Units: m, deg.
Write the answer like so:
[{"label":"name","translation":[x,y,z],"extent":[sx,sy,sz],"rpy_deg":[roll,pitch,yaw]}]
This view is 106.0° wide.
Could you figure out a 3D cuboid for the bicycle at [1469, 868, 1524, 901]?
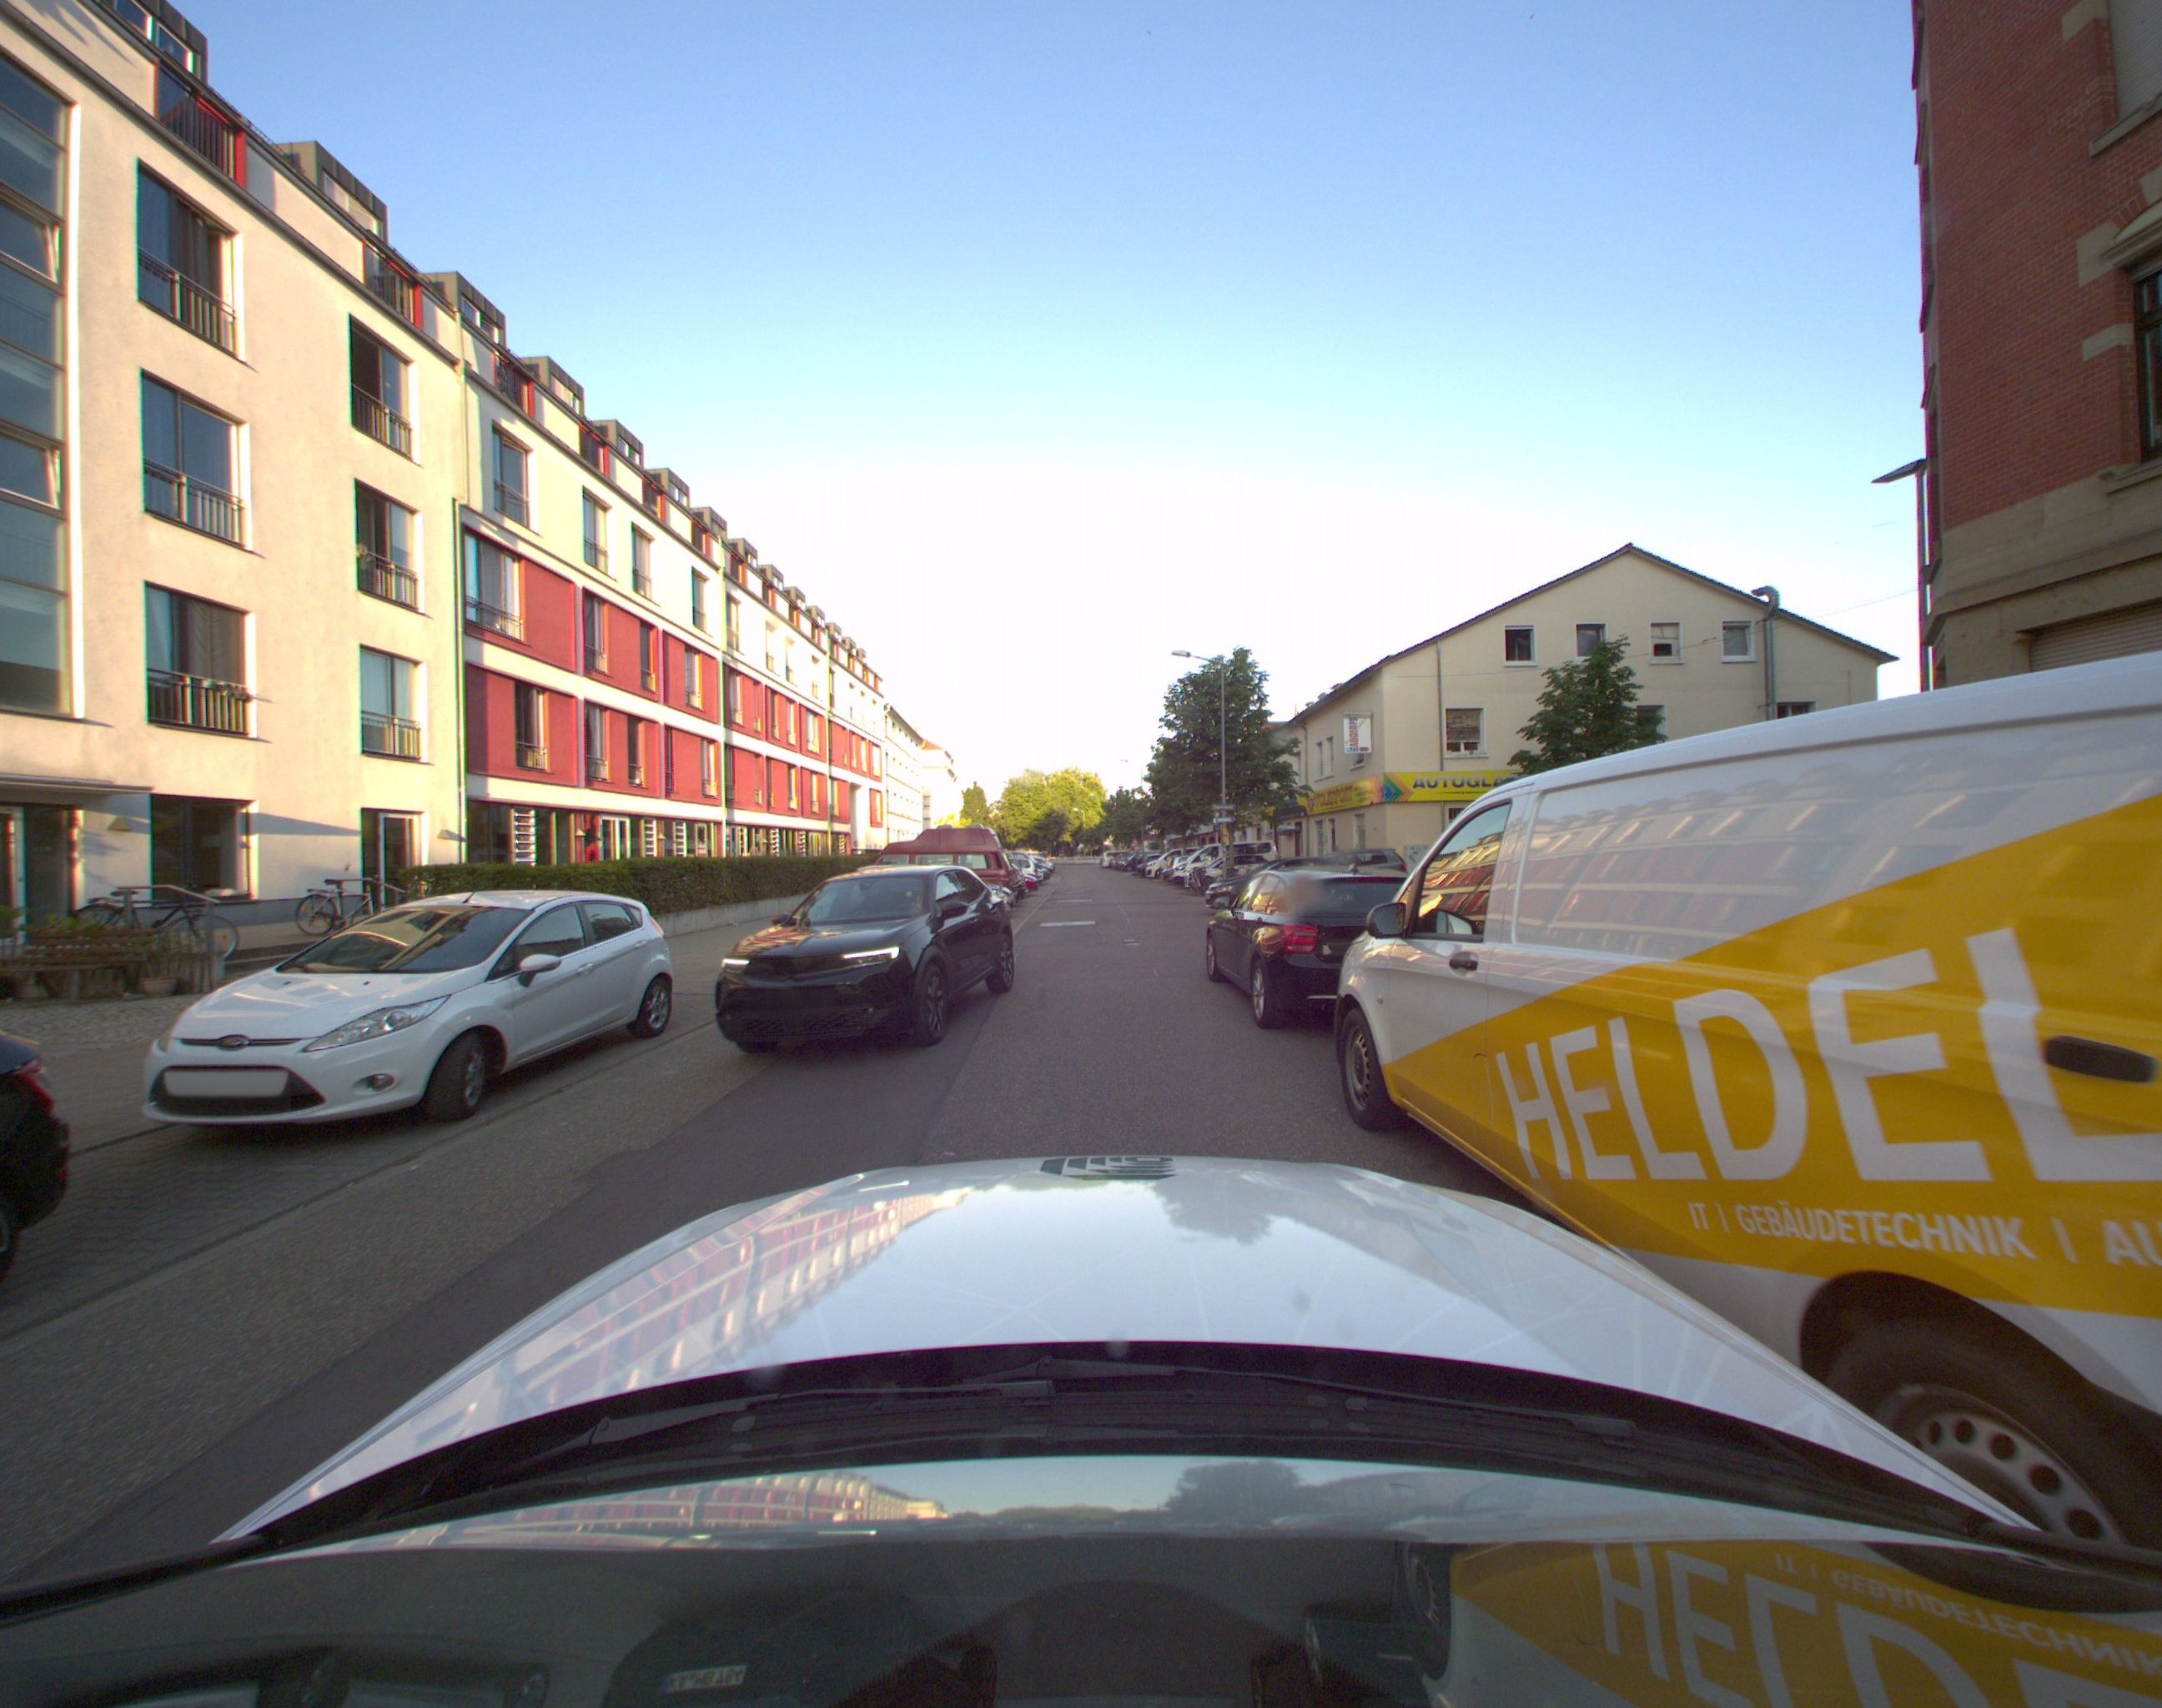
[{"label":"bicycle","translation":[13.216,0.962,25.915],"extent":[1.597,1.019,0.343],"rpy_deg":[0,2,-1]}]

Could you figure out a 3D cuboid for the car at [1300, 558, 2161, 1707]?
[{"label":"car","translation":[2.468,0.517,3.079],"extent":[1.887,1.884,5.081],"rpy_deg":[-1,0,0]}]

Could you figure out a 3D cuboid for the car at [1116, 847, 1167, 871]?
[{"label":"car","translation":[5.562,0.477,75.303],"extent":[4.471,1.911,1.685],"rpy_deg":[-3,0,-5]}]

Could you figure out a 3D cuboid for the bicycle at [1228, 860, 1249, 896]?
[{"label":"bicycle","translation":[5.932,0.890,30.807],"extent":[0.384,1.304,2.017],"rpy_deg":[-3,0,1]}]

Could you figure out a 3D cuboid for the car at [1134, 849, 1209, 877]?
[{"label":"car","translation":[6.382,0.614,57.830],"extent":[4.931,1.689,2.076],"rpy_deg":[-3,0,-2]}]

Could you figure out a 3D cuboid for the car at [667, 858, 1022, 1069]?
[{"label":"car","translation":[-1.961,0.853,8.130],"extent":[1.769,1.517,4.011],"rpy_deg":[-3,0,9]}]

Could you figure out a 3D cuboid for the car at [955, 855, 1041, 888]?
[{"label":"car","translation":[-4.241,0.883,42.241],"extent":[4.243,1.660,2.000],"rpy_deg":[0,0,0]}]

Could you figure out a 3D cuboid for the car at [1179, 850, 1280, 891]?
[{"label":"car","translation":[6.311,0.691,34.937],"extent":[3.909,1.451,1.767],"rpy_deg":[-3,0,-3]}]

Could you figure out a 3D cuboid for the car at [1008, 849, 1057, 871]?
[{"label":"car","translation":[-4.558,0.577,77.656],"extent":[4.519,2.134,2.000],"rpy_deg":[0,0,0]}]

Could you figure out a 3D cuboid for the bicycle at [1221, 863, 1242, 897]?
[{"label":"bicycle","translation":[5.673,0.953,30.797],"extent":[0.384,1.200,2.017],"rpy_deg":[-3,0,1]}]

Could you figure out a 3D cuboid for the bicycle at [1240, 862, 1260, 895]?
[{"label":"bicycle","translation":[6.351,0.912,30.650],"extent":[0.384,1.200,1.481],"rpy_deg":[-3,0,1]}]

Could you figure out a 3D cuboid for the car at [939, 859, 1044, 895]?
[{"label":"car","translation":[-3.702,0.957,34.349],"extent":[4.194,1.490,1.850],"rpy_deg":[0,0,0]}]

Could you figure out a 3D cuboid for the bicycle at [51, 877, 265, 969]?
[{"label":"bicycle","translation":[-12.198,0.891,10.811],"extent":[1.909,1.141,0.812],"rpy_deg":[0,0,1]}]

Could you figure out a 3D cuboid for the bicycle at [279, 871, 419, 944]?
[{"label":"bicycle","translation":[-12.051,0.867,13.435],"extent":[1.768,1.148,0.611],"rpy_deg":[0,0,2]}]

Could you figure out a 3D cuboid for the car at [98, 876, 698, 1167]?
[{"label":"car","translation":[-4.866,1.013,6.705],"extent":[1.647,1.530,4.013],"rpy_deg":[-1,0,-2]}]

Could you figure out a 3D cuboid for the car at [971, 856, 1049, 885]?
[{"label":"car","translation":[-4.029,0.937,46.596],"extent":[4.243,1.652,1.888],"rpy_deg":[0,0,0]}]

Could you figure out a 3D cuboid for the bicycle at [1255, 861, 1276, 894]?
[{"label":"bicycle","translation":[6.926,0.870,30.619],"extent":[0.443,1.200,1.481],"rpy_deg":[-3,0,1]}]

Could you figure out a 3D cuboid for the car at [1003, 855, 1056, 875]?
[{"label":"car","translation":[-4.253,0.928,67.505],"extent":[4.244,1.622,1.999],"rpy_deg":[0,0,-1]}]

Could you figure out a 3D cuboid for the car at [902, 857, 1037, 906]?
[{"label":"car","translation":[-3.582,0.883,26.741],"extent":[4.198,1.538,1.790],"rpy_deg":[0,0,-2]}]

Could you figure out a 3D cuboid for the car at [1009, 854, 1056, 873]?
[{"label":"car","translation":[-4.426,0.850,75.018],"extent":[4.243,1.749,2.000],"rpy_deg":[0,0,0]}]

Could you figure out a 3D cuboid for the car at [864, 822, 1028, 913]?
[{"label":"car","translation":[-3.911,0.371,24.175],"extent":[4.494,2.584,2.001],"rpy_deg":[0,0,1]}]

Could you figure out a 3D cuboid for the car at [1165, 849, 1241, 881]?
[{"label":"car","translation":[6.799,0.623,45.702],"extent":[3.898,1.526,1.939],"rpy_deg":[-3,0,1]}]

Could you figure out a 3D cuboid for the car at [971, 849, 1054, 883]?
[{"label":"car","translation":[-4.087,0.720,49.153],"extent":[4.835,2.021,1.906],"rpy_deg":[0,0,0]}]

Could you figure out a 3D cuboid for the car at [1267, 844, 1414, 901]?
[{"label":"car","translation":[8.064,0.545,25.583],"extent":[4.036,1.514,1.757],"rpy_deg":[-3,2,1]}]

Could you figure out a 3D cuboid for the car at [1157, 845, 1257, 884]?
[{"label":"car","translation":[6.623,0.545,43.069],"extent":[4.927,1.742,2.049],"rpy_deg":[-3,0,1]}]

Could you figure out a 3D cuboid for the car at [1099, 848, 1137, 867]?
[{"label":"car","translation":[4.139,0.372,90.905],"extent":[3.961,1.911,2.046],"rpy_deg":[-3,0,-5]}]

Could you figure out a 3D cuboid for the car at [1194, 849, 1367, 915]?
[{"label":"car","translation":[5.011,0.672,20.672],"extent":[3.931,1.455,1.651],"rpy_deg":[-2,0,-12]}]

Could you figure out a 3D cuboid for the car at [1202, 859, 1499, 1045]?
[{"label":"car","translation":[2.431,0.781,8.516],"extent":[1.716,1.424,4.253],"rpy_deg":[0,0,0]}]

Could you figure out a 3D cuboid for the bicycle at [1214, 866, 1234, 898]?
[{"label":"bicycle","translation":[5.392,1.037,30.810],"extent":[0.384,1.114,2.017],"rpy_deg":[-3,0,1]}]

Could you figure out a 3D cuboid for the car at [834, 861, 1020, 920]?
[{"label":"car","translation":[-3.954,0.932,21.594],"extent":[4.605,1.460,1.878],"rpy_deg":[0,0,-4]}]

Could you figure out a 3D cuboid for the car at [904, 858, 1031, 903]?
[{"label":"car","translation":[-4.024,0.927,29.307],"extent":[4.188,1.538,1.845],"rpy_deg":[0,0,6]}]

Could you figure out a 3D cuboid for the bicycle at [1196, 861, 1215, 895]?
[{"label":"bicycle","translation":[4.675,0.872,30.778],"extent":[0.384,1.200,2.017],"rpy_deg":[-3,0,1]}]

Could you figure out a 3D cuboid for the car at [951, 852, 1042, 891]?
[{"label":"car","translation":[-4.076,0.838,39.769],"extent":[4.243,1.836,2.000],"rpy_deg":[0,0,0]}]

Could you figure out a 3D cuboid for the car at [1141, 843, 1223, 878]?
[{"label":"car","translation":[6.524,0.437,53.054],"extent":[4.931,1.958,2.048],"rpy_deg":[-3,0,-2]}]

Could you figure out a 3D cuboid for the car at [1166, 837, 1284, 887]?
[{"label":"car","translation":[6.591,0.367,37.726],"extent":[4.973,1.983,2.220],"rpy_deg":[-3,0,0]}]

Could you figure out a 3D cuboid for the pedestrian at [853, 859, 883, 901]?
[{"label":"pedestrian","translation":[-7.617,0.921,29.119],"extent":[0.829,1.501,0.798],"rpy_deg":[0,0,1]}]

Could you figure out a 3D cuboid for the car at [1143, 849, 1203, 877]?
[{"label":"car","translation":[7.044,0.684,62.736],"extent":[4.305,1.804,1.810],"rpy_deg":[-3,0,-2]}]

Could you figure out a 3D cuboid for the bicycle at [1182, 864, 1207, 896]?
[{"label":"bicycle","translation":[4.259,0.940,30.591],"extent":[0.437,1.130,2.014],"rpy_deg":[-3,0,-5]}]

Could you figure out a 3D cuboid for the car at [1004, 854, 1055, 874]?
[{"label":"car","translation":[-4.404,0.884,70.246],"extent":[4.243,1.714,2.000],"rpy_deg":[0,0,0]}]

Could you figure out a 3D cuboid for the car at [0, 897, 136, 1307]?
[{"label":"car","translation":[-4.974,0.963,1.605],"extent":[1.698,1.534,3.844],"rpy_deg":[-1,0,0]}]
